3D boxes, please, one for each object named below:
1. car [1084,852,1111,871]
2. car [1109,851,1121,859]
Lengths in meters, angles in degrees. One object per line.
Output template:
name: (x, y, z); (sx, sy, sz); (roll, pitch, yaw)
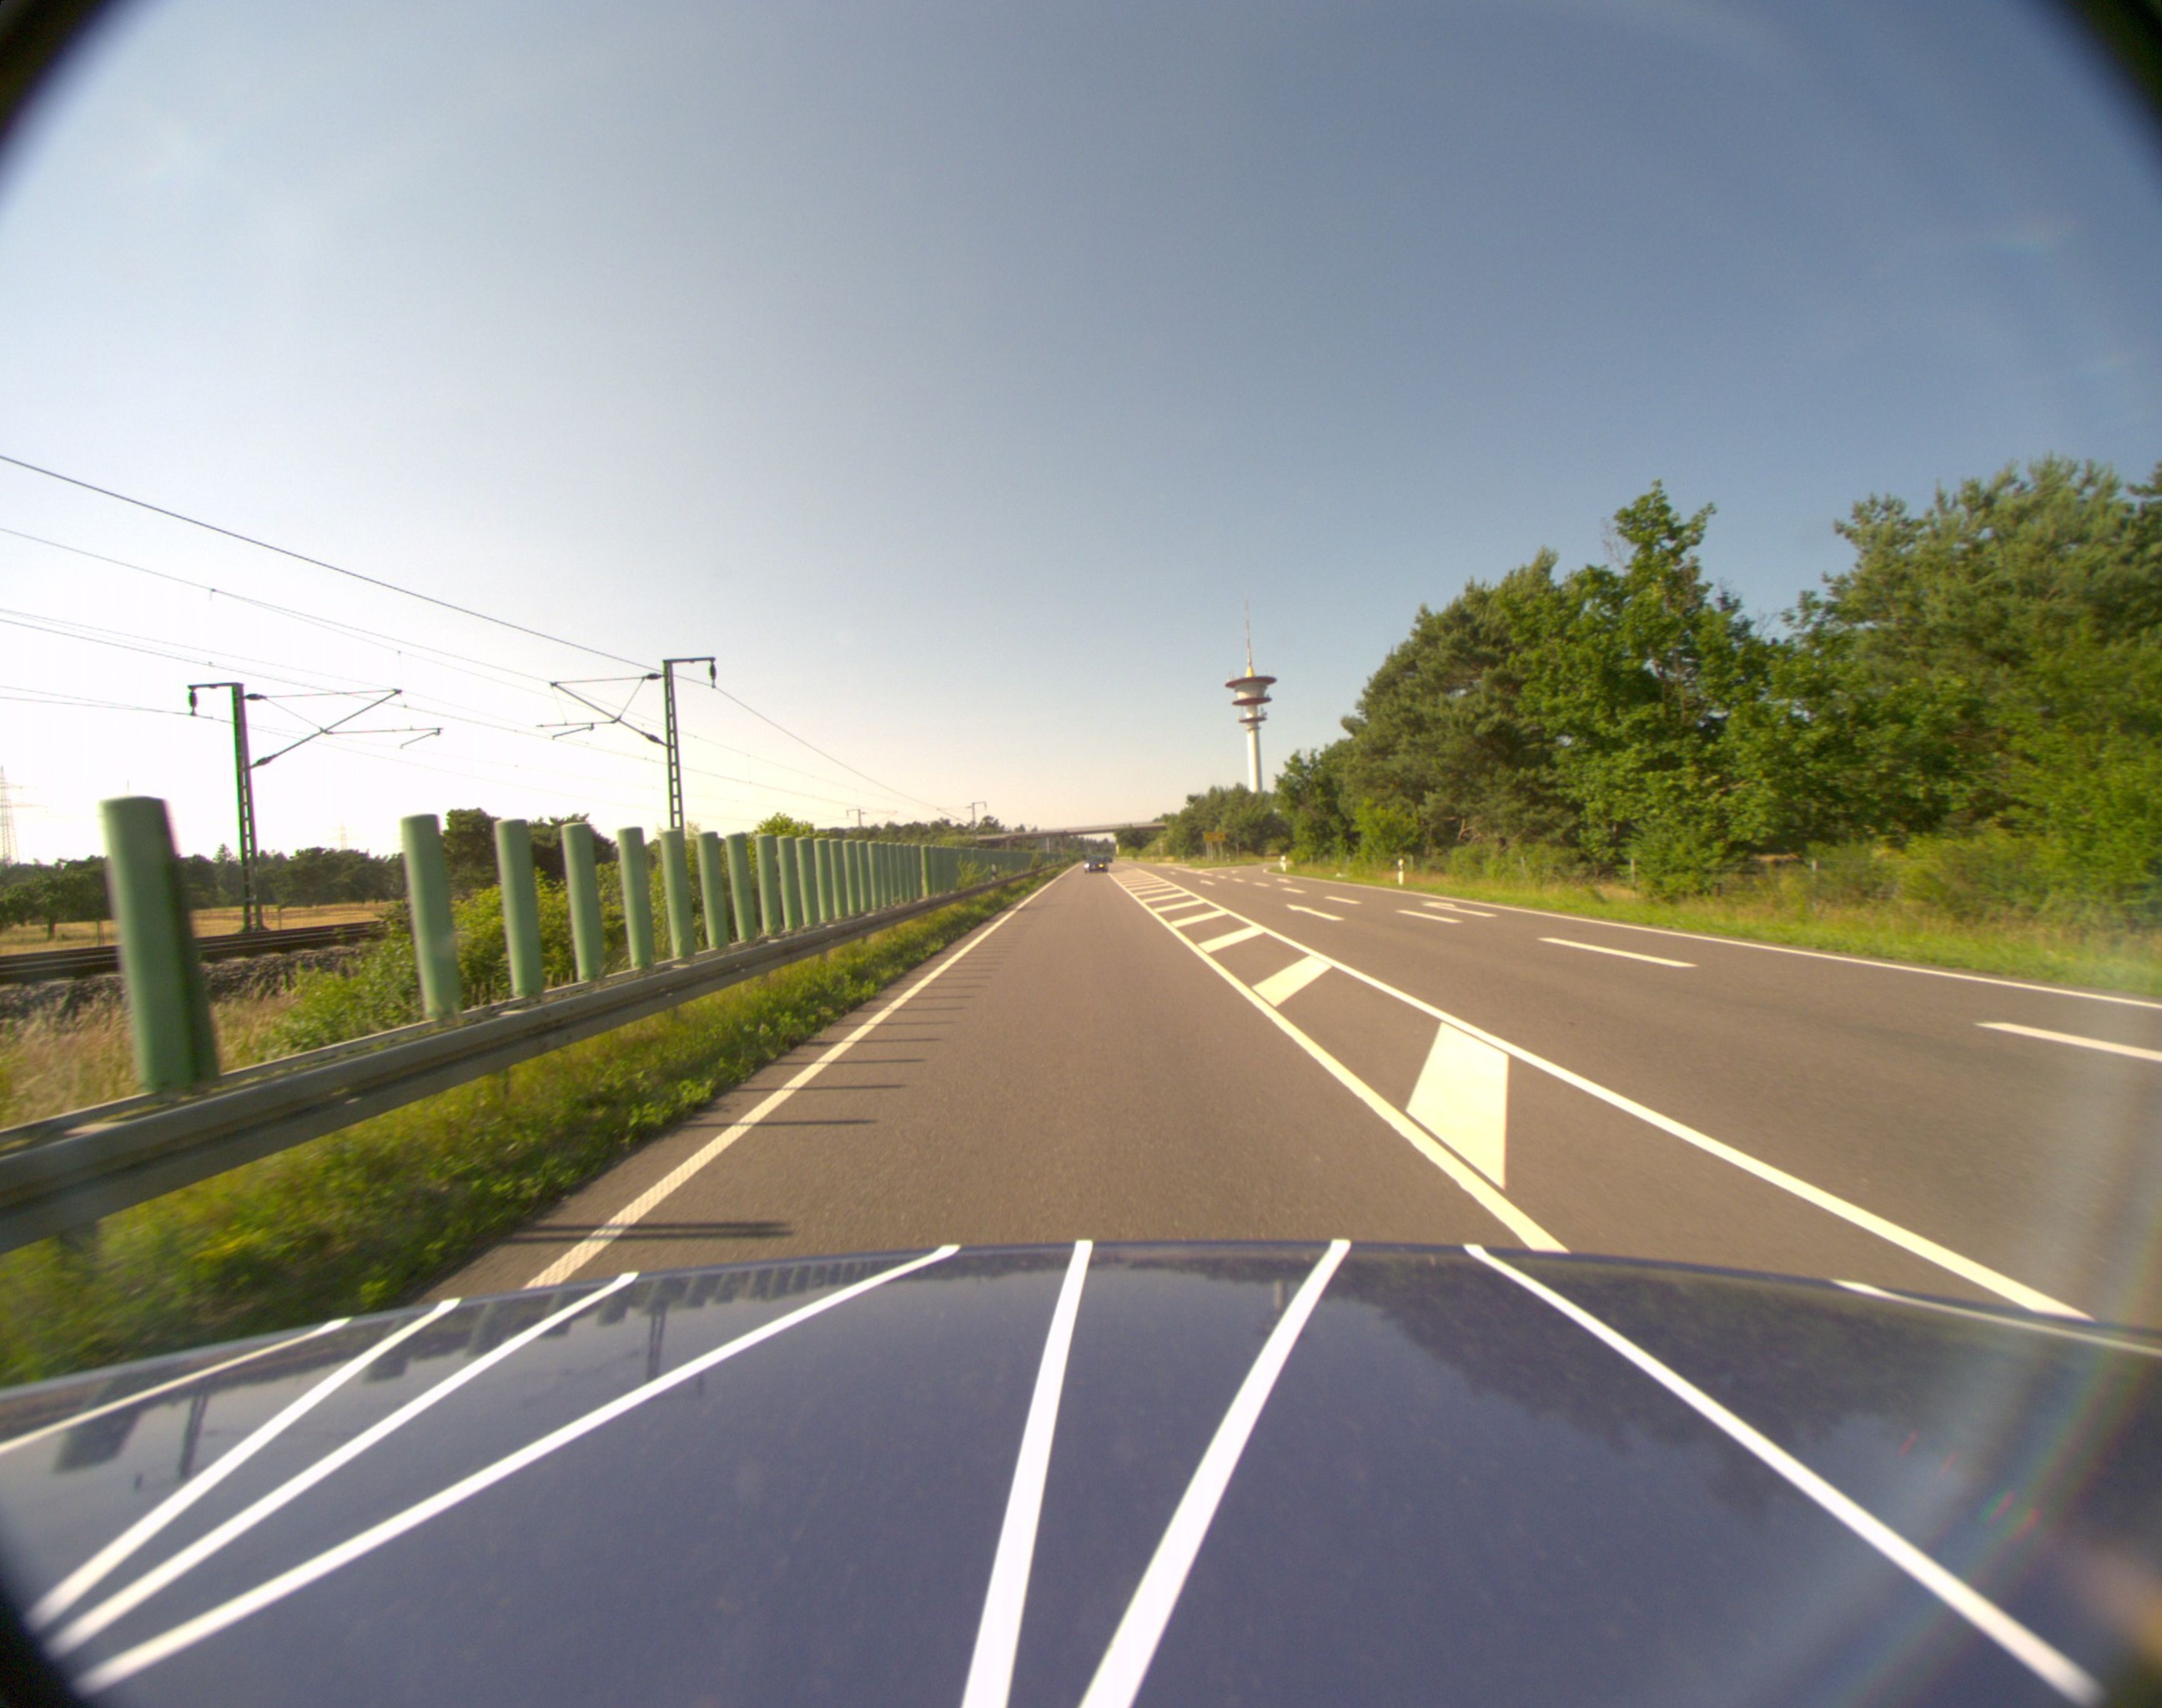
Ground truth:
car: (1.477, 0.636, 67.759); (1.867, 1.533, 4.078); (-1, 0, 8)
car: (6.318, 0.202, 141.640); (1.998, 1.533, 4.332); (-1, 0, 2)
